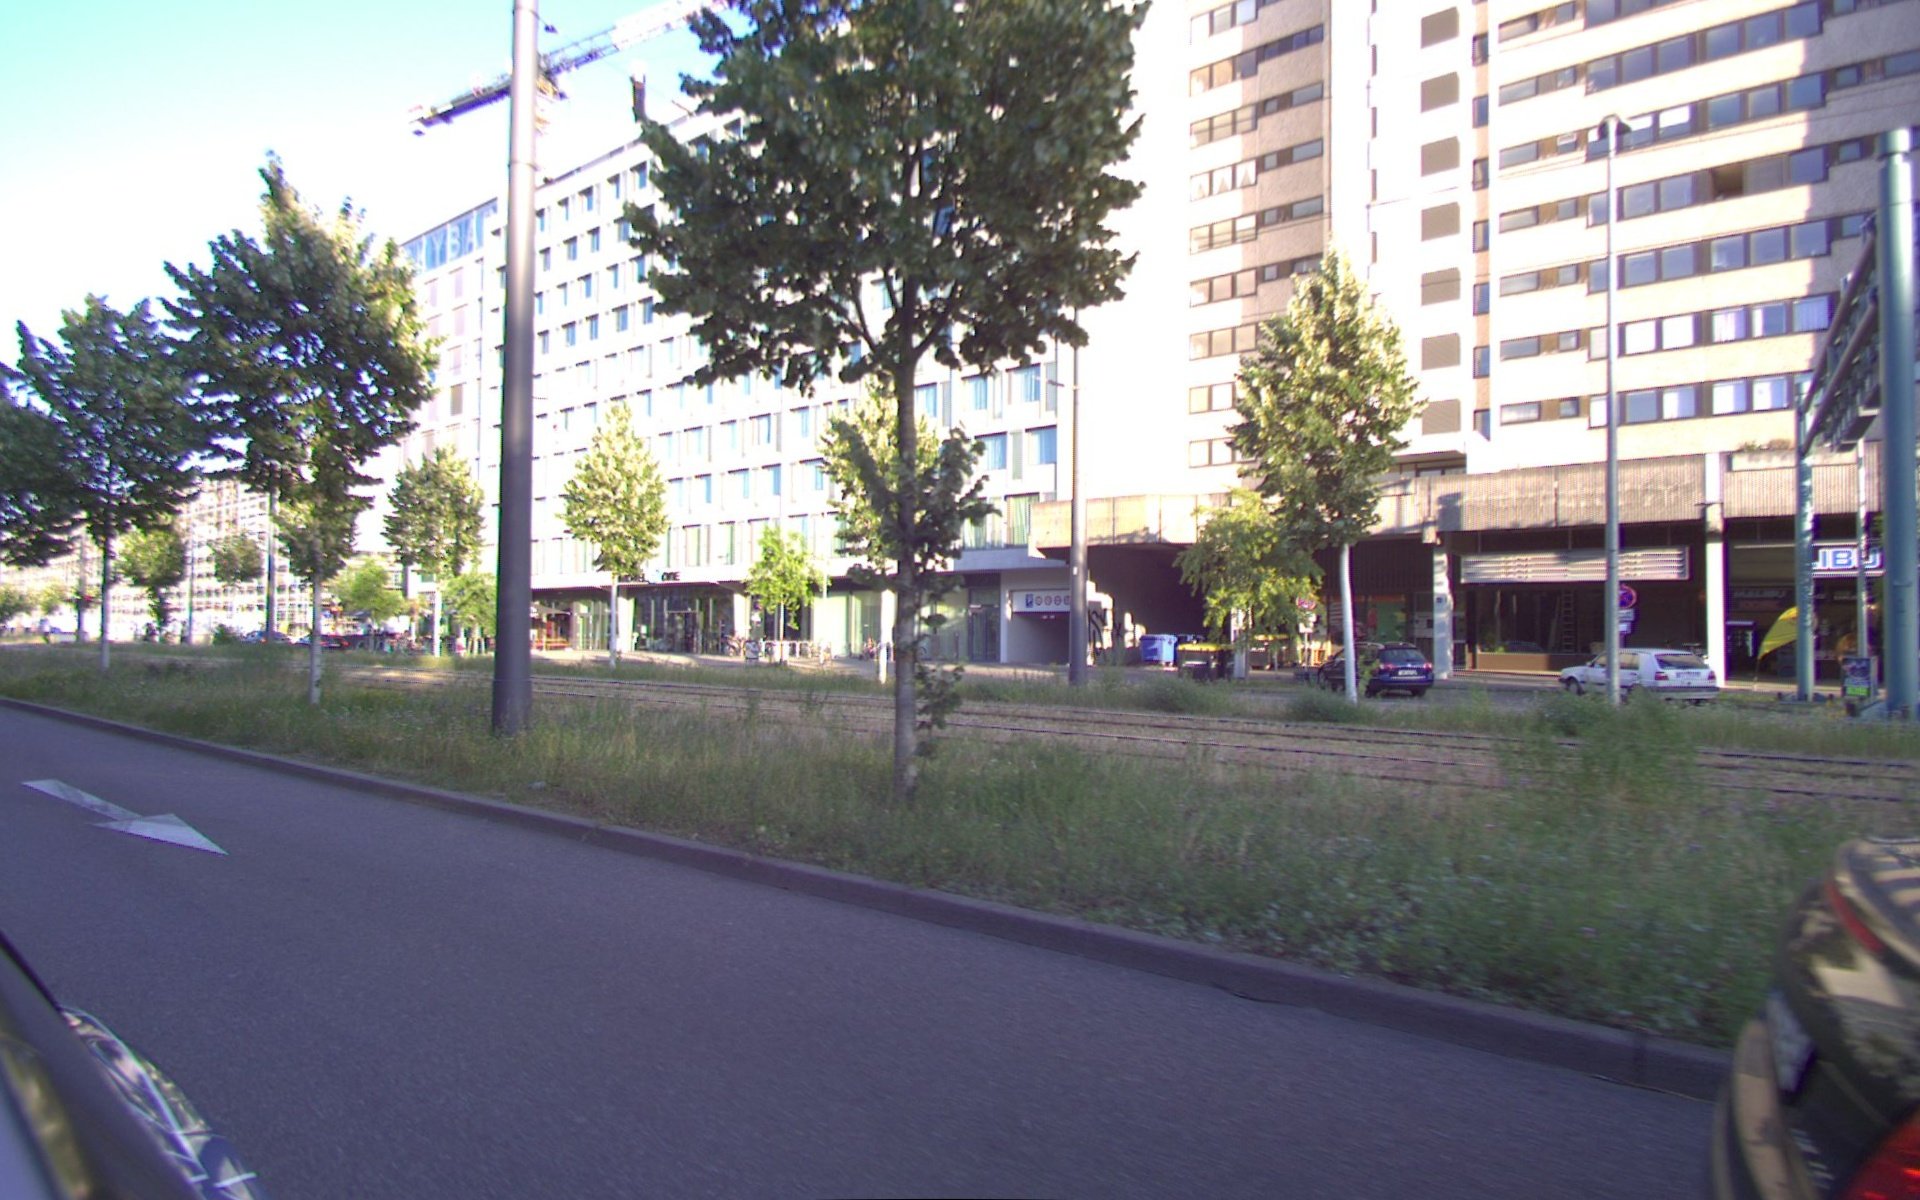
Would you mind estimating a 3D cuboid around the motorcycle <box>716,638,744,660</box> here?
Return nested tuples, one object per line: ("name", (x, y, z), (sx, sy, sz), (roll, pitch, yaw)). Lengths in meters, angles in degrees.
("motorcycle", (-12.811, 2.732, 56.401), (0.512, 1.180, 1.884), (-1, -2, 21))

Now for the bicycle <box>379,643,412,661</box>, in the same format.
("bicycle", (-36.487, 3.342, 65.435), (0.441, 1.067, 1.893), (-2, -1, 33))

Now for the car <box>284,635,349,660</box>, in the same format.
("car", (-38.945, 2.866, 61.202), (4.215, 1.451, 1.868), (-2, -3, 36))

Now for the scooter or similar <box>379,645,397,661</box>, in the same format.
("scooter or similar", (-37.615, 3.503, 66.530), (0.291, 1.041, 0.997), (0, -1, 37))

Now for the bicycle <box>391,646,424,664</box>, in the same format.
("bicycle", (-35.366, 3.533, 64.763), (0.441, 1.067, 1.893), (-2, -1, 33))

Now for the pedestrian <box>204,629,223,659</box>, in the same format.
("pedestrian", (-49.699, 2.925, 67.403), (0.854, 2.029, 0.822), (-2, -3, 40))

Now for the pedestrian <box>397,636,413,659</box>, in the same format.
("pedestrian", (-39.111, 3.345, 71.344), (0.699, 1.616, 0.680), (-1, -1, 4))

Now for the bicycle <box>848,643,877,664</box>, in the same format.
("bicycle", (-4.761, 2.620, 49.677), (0.420, 1.028, 1.773), (-1, -3, 33))

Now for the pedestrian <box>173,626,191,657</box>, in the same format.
("pedestrian", (-50.309, 2.660, 65.456), (0.708, 1.938, 0.672), (-2, 2, 39))

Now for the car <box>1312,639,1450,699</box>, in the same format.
("car", (12.084, 1.940, 29.415), (1.979, 1.602, 4.288), (0, -2, -3))

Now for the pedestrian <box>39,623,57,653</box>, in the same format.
("pedestrian", (-56.137, 2.347, 62.300), (0.761, 1.850, 0.700), (-2, -1, 36))

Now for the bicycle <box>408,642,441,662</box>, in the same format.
("bicycle", (-33.690, 3.268, 63.715), (0.441, 1.208, 1.893), (-2, -1, 33))

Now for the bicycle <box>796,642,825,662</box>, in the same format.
("bicycle", (-7.728, 2.696, 52.367), (0.420, 1.028, 1.773), (-1, -3, 33))

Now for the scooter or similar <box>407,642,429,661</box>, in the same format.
("scooter or similar", (-34.342, 3.264, 64.134), (0.337, 1.227, 1.170), (-1, -3, 37))

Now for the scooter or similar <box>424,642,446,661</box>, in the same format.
("scooter or similar", (-32.664, 3.201, 62.998), (0.337, 1.172, 1.170), (-1, -3, 37))

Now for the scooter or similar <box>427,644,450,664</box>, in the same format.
("scooter or similar", (-31.871, 3.296, 61.880), (0.337, 1.066, 1.171), (-4, 0, 37))

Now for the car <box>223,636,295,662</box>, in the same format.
("car", (-40.834, 2.852, 58.949), (4.793, 1.452, 1.996), (-2, -5, 37))

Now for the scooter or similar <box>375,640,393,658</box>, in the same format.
("scooter or similar", (-38.349, 3.267, 67.390), (0.337, 1.093, 0.963), (2, 2, 37))

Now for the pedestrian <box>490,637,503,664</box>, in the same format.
("pedestrian", (-28.259, 3.043, 61.648), (0.603, 1.612, 0.492), (-2, -1, 38))

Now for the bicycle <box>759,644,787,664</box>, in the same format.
("bicycle", (-9.956, 2.872, 53.910), (0.420, 1.028, 1.728), (-1, -3, 33))

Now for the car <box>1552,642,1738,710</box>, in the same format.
("car", (17.323, 1.881, 25.873), (1.799, 1.447, 4.133), (-1, -1, -2))

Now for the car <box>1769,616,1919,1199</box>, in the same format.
("car", (2.976, 0.694, 0.533), (3.896, 1.461, 1.702), (-3, -2, 38))
